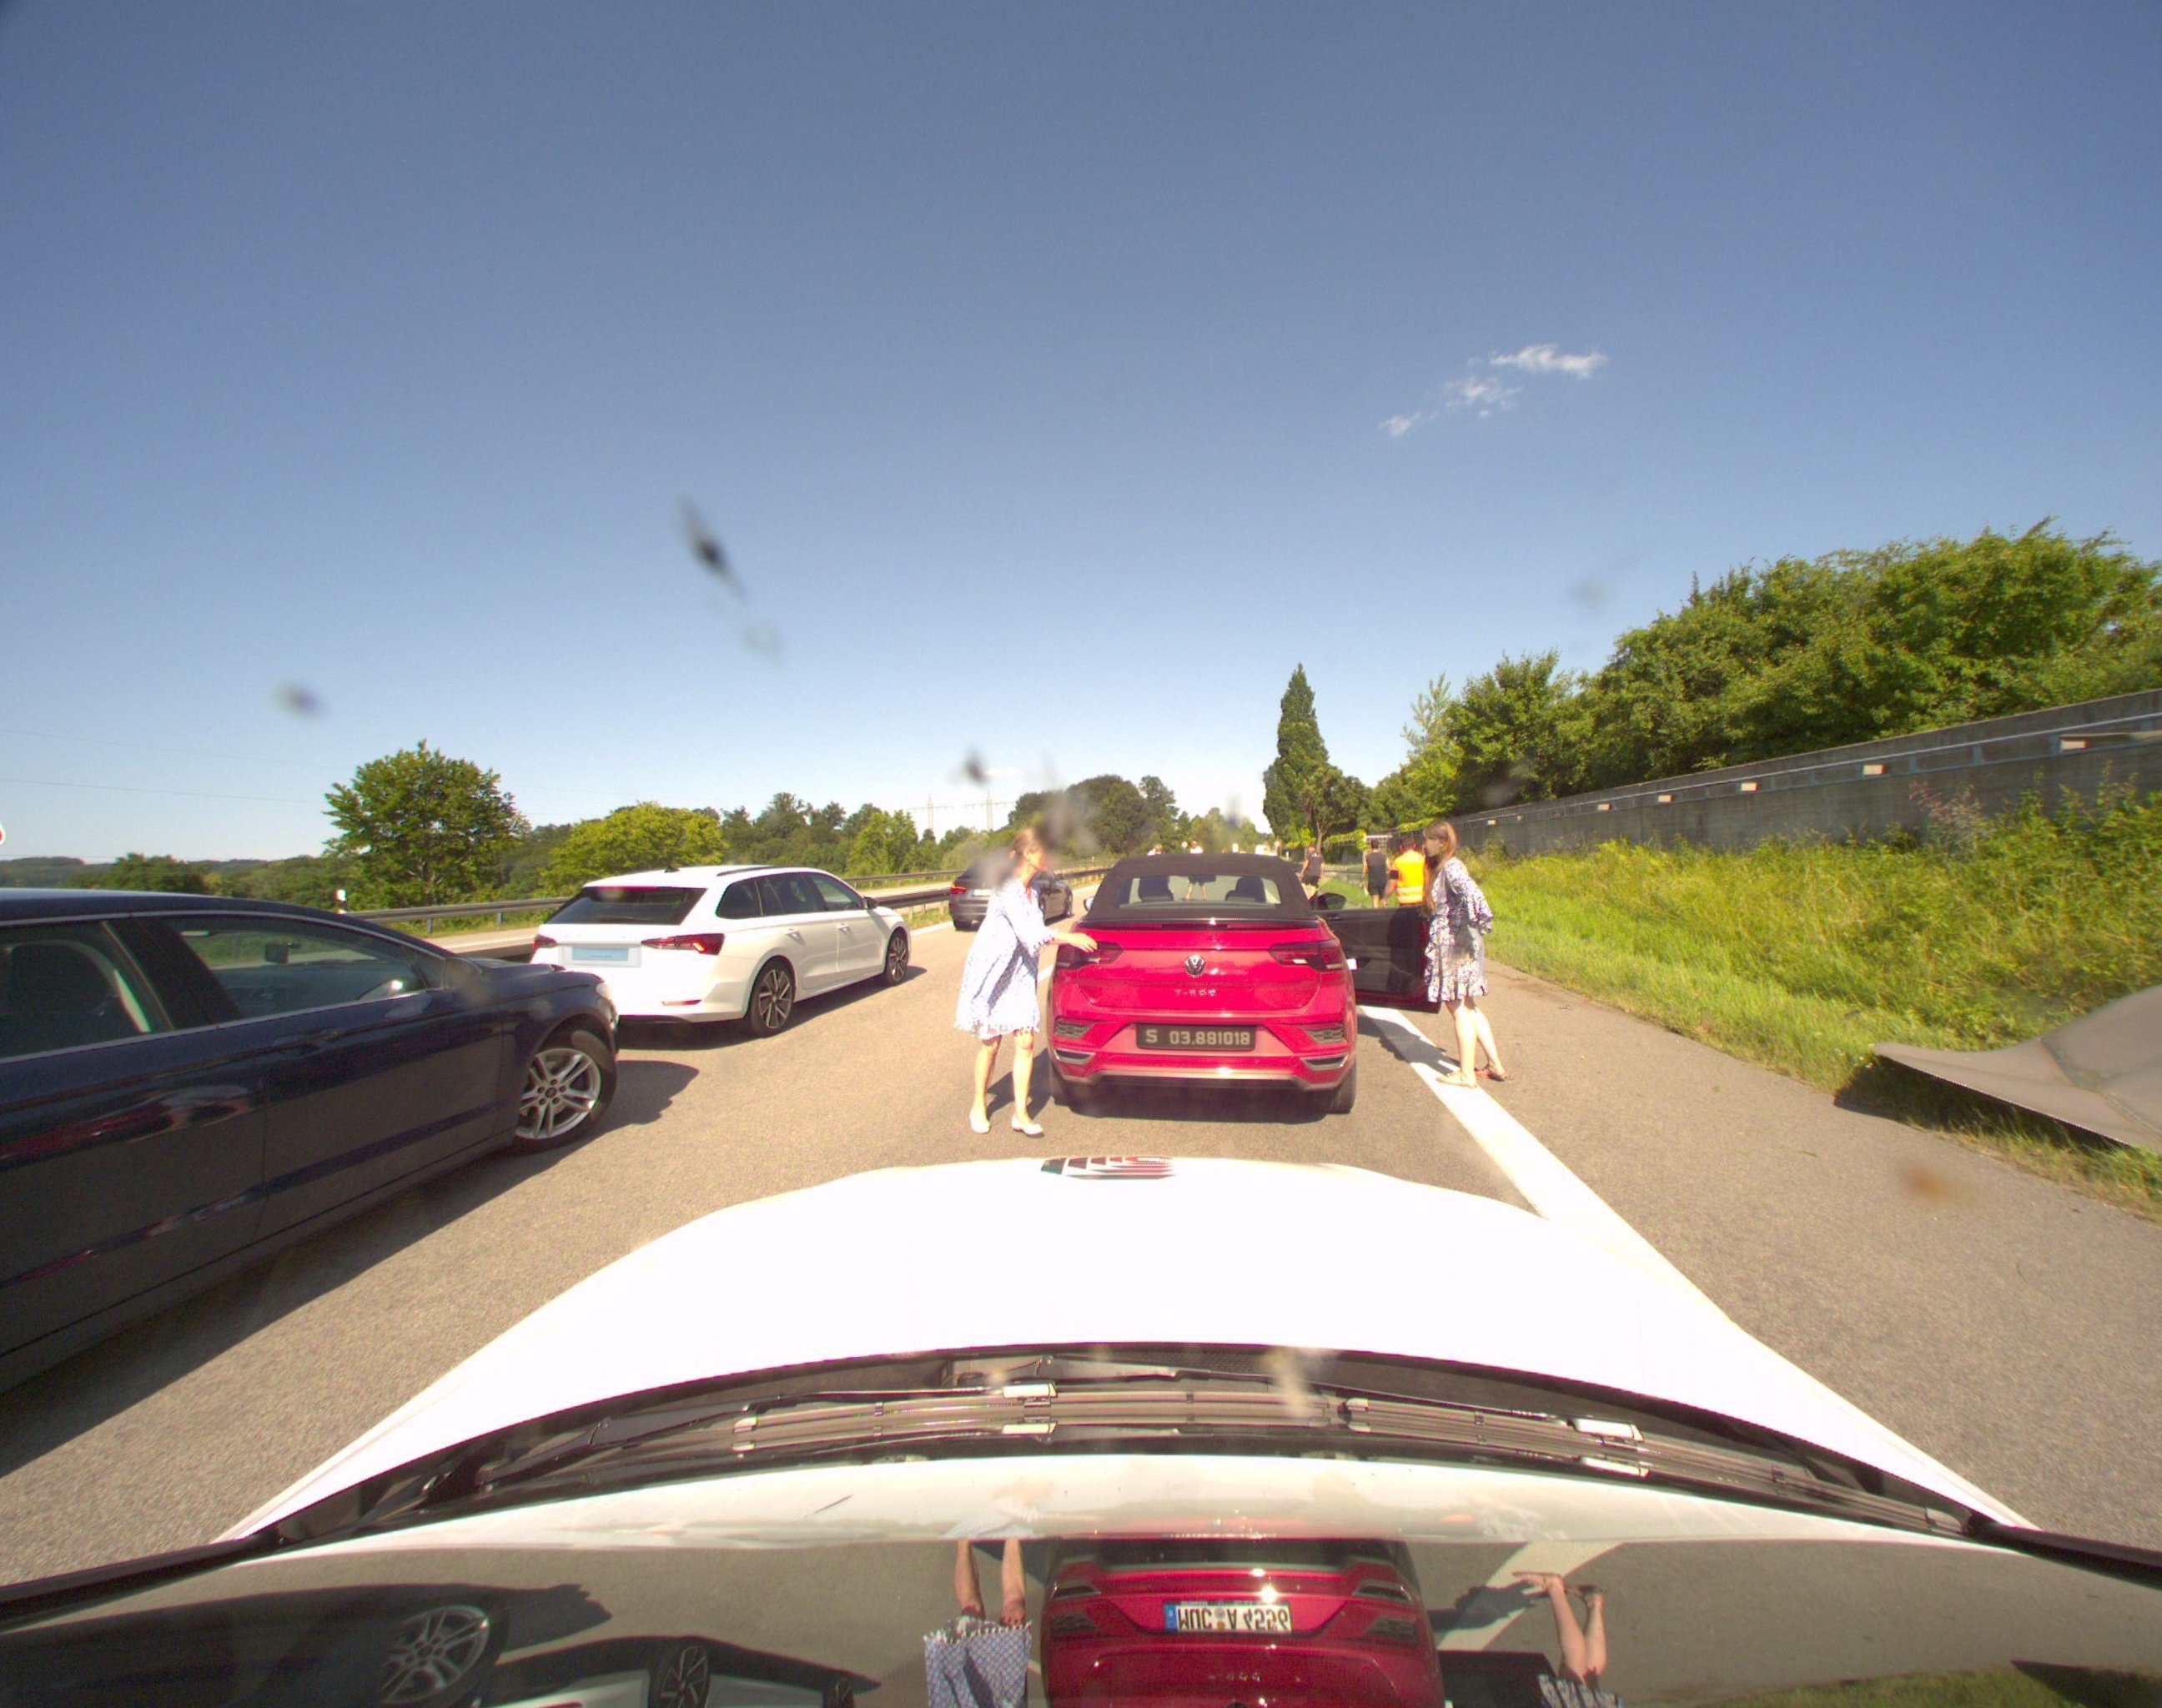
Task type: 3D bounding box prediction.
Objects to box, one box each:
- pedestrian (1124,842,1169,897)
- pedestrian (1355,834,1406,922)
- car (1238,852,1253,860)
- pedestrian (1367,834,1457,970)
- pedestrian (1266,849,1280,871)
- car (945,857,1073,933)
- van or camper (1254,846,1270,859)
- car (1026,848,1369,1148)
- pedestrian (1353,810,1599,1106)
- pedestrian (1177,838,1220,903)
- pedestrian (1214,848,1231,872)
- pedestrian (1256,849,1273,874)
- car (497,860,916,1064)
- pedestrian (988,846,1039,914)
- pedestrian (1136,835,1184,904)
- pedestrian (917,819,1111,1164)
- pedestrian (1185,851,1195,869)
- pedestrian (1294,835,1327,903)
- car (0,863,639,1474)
[{"bbox_3d":[2.185,0.509,27.288,1.092,1.789,1.099,0,-1,-23],"label":"pedestrian"},{"bbox_3d":[6.070,0.474,16.530,0.888,1.725,0.757,-1,-1,15],"label":"pedestrian"},{"bbox_3d":[31.691,0.410,156.998,1.716,1.487,4.235,-1,0,26],"label":"car"},{"bbox_3d":[4.289,0.597,10.663,0.950,1.654,1.284,-2,0,18],"label":"pedestrian"},{"bbox_3d":[14.549,0.461,61.602,0.989,1.689,1.014,-1,-1,13],"label":"pedestrian"},{"bbox_3d":[-1.412,0.790,17.745,1.684,1.426,4.346,-1,0,10],"label":"car"},{"bbox_3d":[34.521,-0.288,155.222,1.975,2.316,4.497,-1,-1,27],"label":"van or camper"},{"bbox_3d":[0.932,0.716,6.255,1.722,1.487,4.222,-1,0,10],"label":"car"},{"bbox_3d":[2.449,0.613,5.204,1.119,1.695,0.894,-2,0,5],"label":"pedestrian"},{"bbox_3d":[3.602,0.504,25.073,1.101,1.912,1.258,-2,0,2],"label":"pedestrian"},{"bbox_3d":[9.976,0.428,57.417,1.105,1.689,0.977,-1,-1,14],"label":"pedestrian"},{"bbox_3d":[12.677,0.532,56.159,1.048,1.689,1.021,-1,-1,16],"label":"pedestrian"},{"bbox_3d":[-3.245,0.809,8.140,1.684,1.441,4.222,-1,0,10],"label":"car"},{"bbox_3d":[-1.822,0.697,22.135,1.033,1.763,1.122,-2,0,12],"label":"pedestrian"},{"bbox_3d":[2.269,0.435,23.230,1.056,1.883,1.099,-2,0,21],"label":"pedestrian"},{"bbox_3d":[-0.393,0.674,4.508,0.842,1.683,0.738,-2,0,-22],"label":"pedestrian"},{"bbox_3d":[10.295,0.559,76.718,0.786,1.689,0.795,-1,-1,15],"label":"pedestrian"},{"bbox_3d":[6.116,0.403,21.685,0.805,1.759,0.832,-1,-1,17],"label":"pedestrian"},{"bbox_3d":[-3.598,0.830,2.629,1.782,1.493,4.493,-2,0,1],"label":"car"}]
